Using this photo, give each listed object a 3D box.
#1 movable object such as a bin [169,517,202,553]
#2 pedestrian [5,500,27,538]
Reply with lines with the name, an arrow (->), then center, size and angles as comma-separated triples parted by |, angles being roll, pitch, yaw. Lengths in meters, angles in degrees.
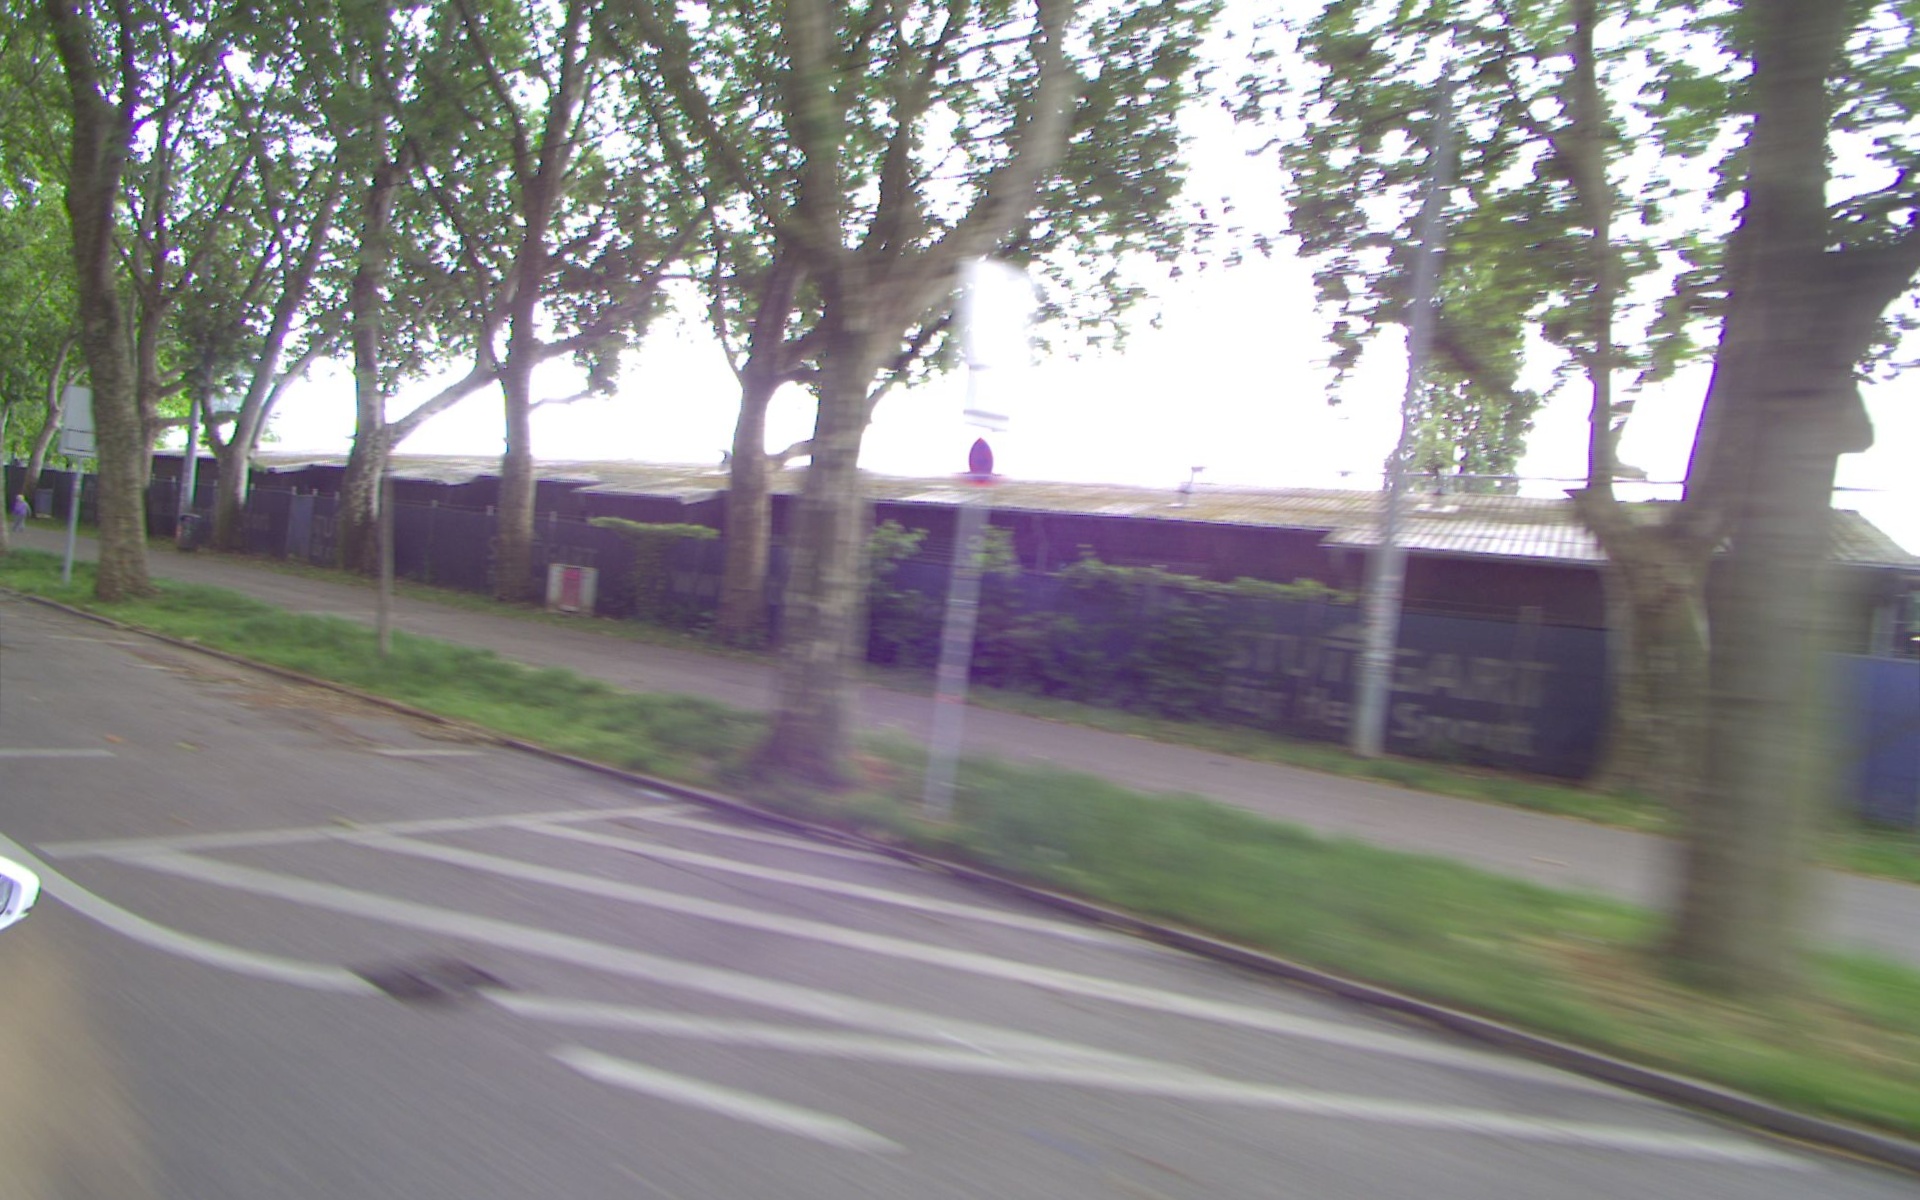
movable object such as a bin -> -22.414, -1.868, 29.115 | 0.663, 0.973, 0.567 | 7, 5, 31
pedestrian -> -29.077, -2.489, 30.981 | 0.412, 1.099, 0.395 | 7, 3, 35
